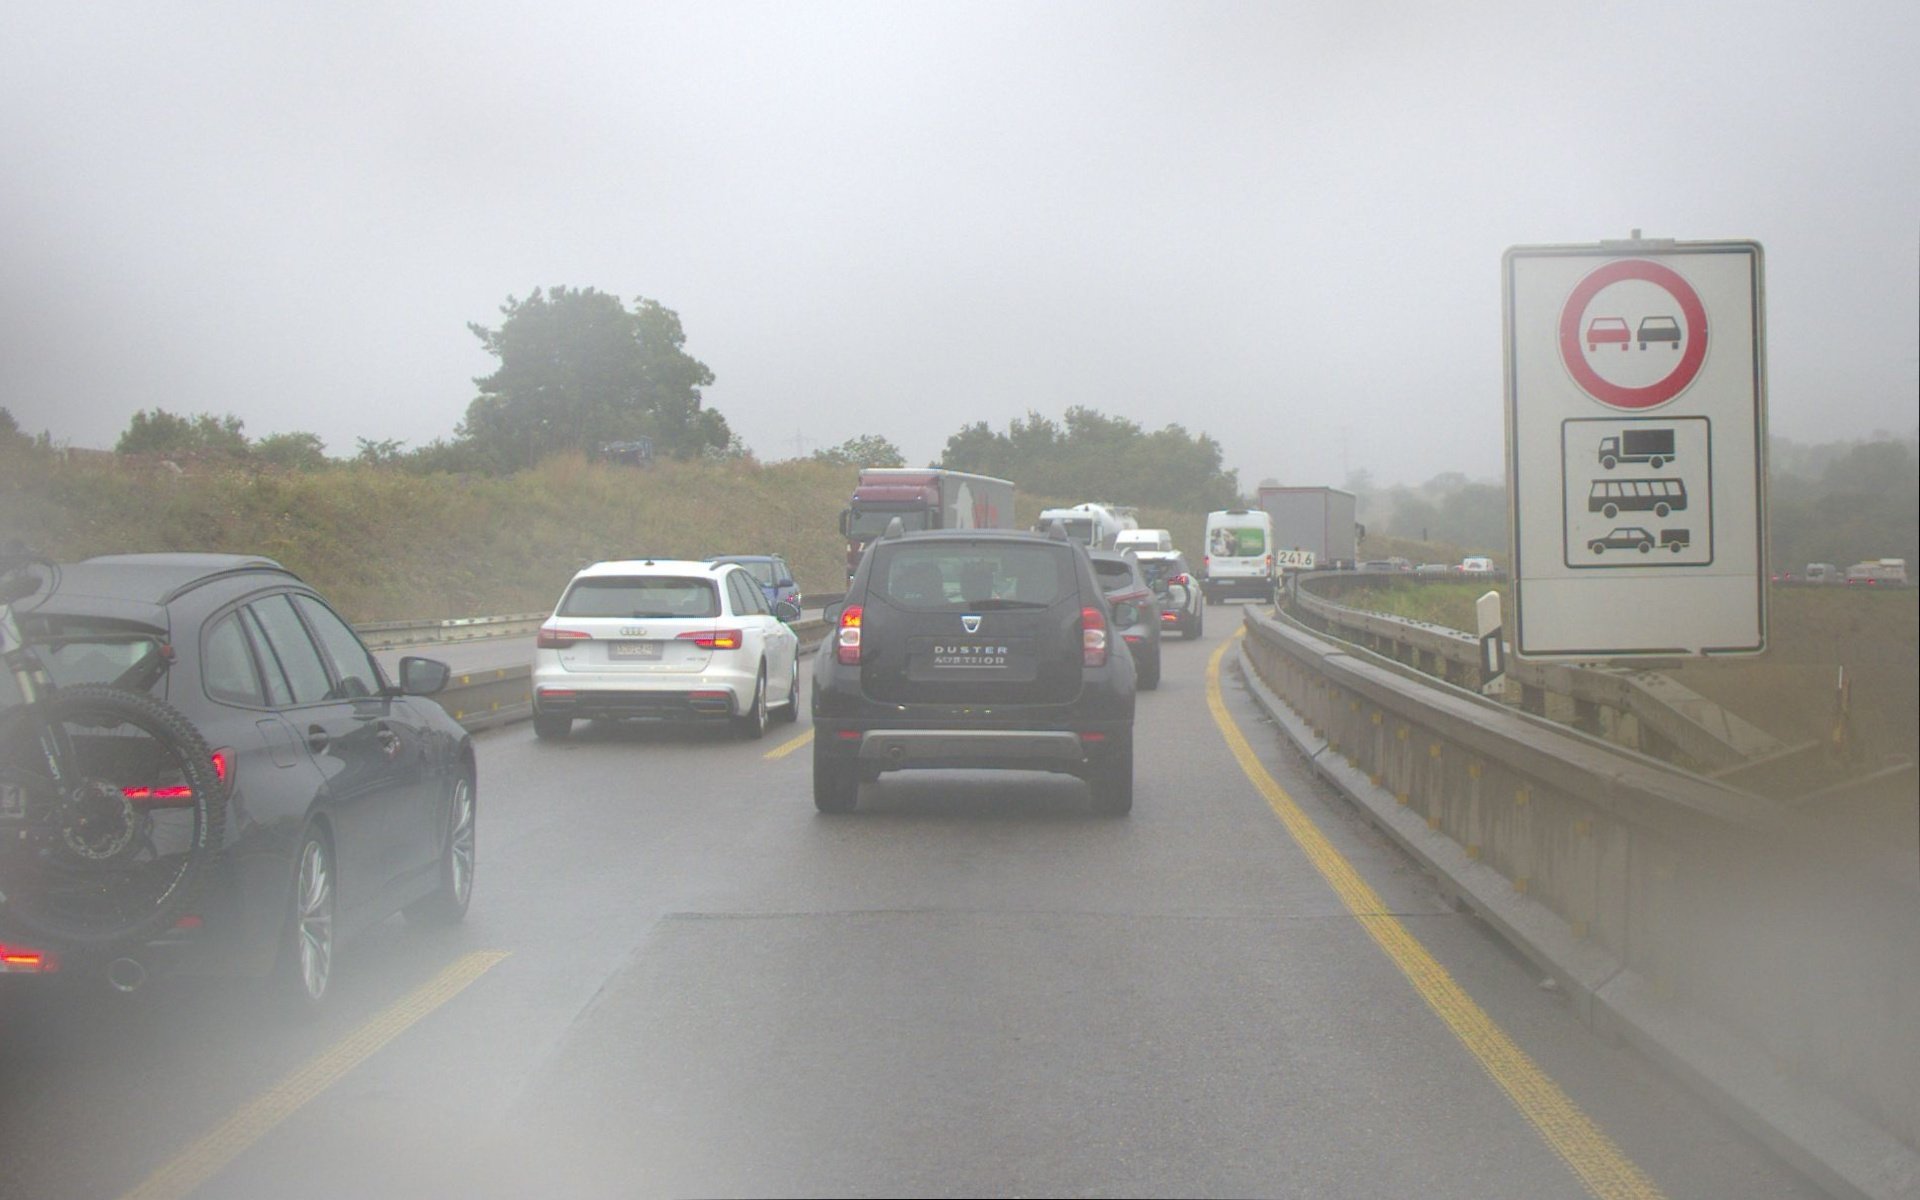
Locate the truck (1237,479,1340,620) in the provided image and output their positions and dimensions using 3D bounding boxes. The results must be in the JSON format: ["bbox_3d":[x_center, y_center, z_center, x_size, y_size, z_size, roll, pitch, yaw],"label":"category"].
[{"bbox_3d":[12.468,-1.849,129.679,3.544,5.060,10.439,1,0,7],"label":"truck"}]

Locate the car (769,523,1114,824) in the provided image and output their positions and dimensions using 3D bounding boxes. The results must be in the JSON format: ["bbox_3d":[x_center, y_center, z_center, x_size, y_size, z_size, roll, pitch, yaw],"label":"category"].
[{"bbox_3d":[-0.069,0.384,20.329,1.826,1.585,4.000,1,0,1],"label":"car"}]

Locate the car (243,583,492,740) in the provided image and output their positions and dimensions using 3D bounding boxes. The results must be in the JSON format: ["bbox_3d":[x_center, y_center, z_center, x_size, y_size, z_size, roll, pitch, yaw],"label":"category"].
[{"bbox_3d":[-5.680,0.553,33.373,1.580,1.378,4.000,0,1,2],"label":"car"}]

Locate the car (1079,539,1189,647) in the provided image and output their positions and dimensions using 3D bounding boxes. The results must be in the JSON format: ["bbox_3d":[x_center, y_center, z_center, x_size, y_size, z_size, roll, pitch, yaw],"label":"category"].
[{"bbox_3d":[3.012,-0.128,59.768,1.826,1.809,4.000,1,0,3],"label":"car"}]

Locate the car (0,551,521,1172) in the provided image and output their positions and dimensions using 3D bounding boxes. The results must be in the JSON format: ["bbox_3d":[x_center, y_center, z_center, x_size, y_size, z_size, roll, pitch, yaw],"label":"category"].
[{"bbox_3d":[-2.815,0.644,11.809,1.735,1.457,5.629,0,2,2],"label":"car"}]

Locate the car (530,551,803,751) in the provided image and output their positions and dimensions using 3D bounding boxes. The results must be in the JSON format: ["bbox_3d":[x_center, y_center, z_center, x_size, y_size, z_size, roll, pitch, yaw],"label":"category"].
[{"bbox_3d":[-2.310,0.376,27.991,1.826,1.494,4.000,1,0,1],"label":"car"}]

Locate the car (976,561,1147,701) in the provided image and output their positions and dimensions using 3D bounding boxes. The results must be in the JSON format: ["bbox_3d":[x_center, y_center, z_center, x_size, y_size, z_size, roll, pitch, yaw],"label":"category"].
[{"bbox_3d":[1.119,0.325,39.044,1.826,1.494,4.000,1,0,1],"label":"car"}]

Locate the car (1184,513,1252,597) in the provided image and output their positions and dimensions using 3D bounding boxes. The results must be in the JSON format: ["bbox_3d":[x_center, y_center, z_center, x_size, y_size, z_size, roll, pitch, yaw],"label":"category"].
[{"bbox_3d":[7.707,-1.316,102.405,1.827,2.429,4.157,1,0,7],"label":"car"}]

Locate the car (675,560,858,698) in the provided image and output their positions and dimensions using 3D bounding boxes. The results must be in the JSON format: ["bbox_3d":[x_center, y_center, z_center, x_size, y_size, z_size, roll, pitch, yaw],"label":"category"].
[{"bbox_3d":[-2.176,0.307,39.589,1.826,1.494,4.000,1,0,1],"label":"car"}]

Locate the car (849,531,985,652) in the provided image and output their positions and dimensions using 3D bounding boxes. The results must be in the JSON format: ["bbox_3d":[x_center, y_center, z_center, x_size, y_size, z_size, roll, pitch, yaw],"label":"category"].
[{"bbox_3d":[-0.631,-0.136,53.699,1.826,1.809,4.000,1,0,3],"label":"car"}]
